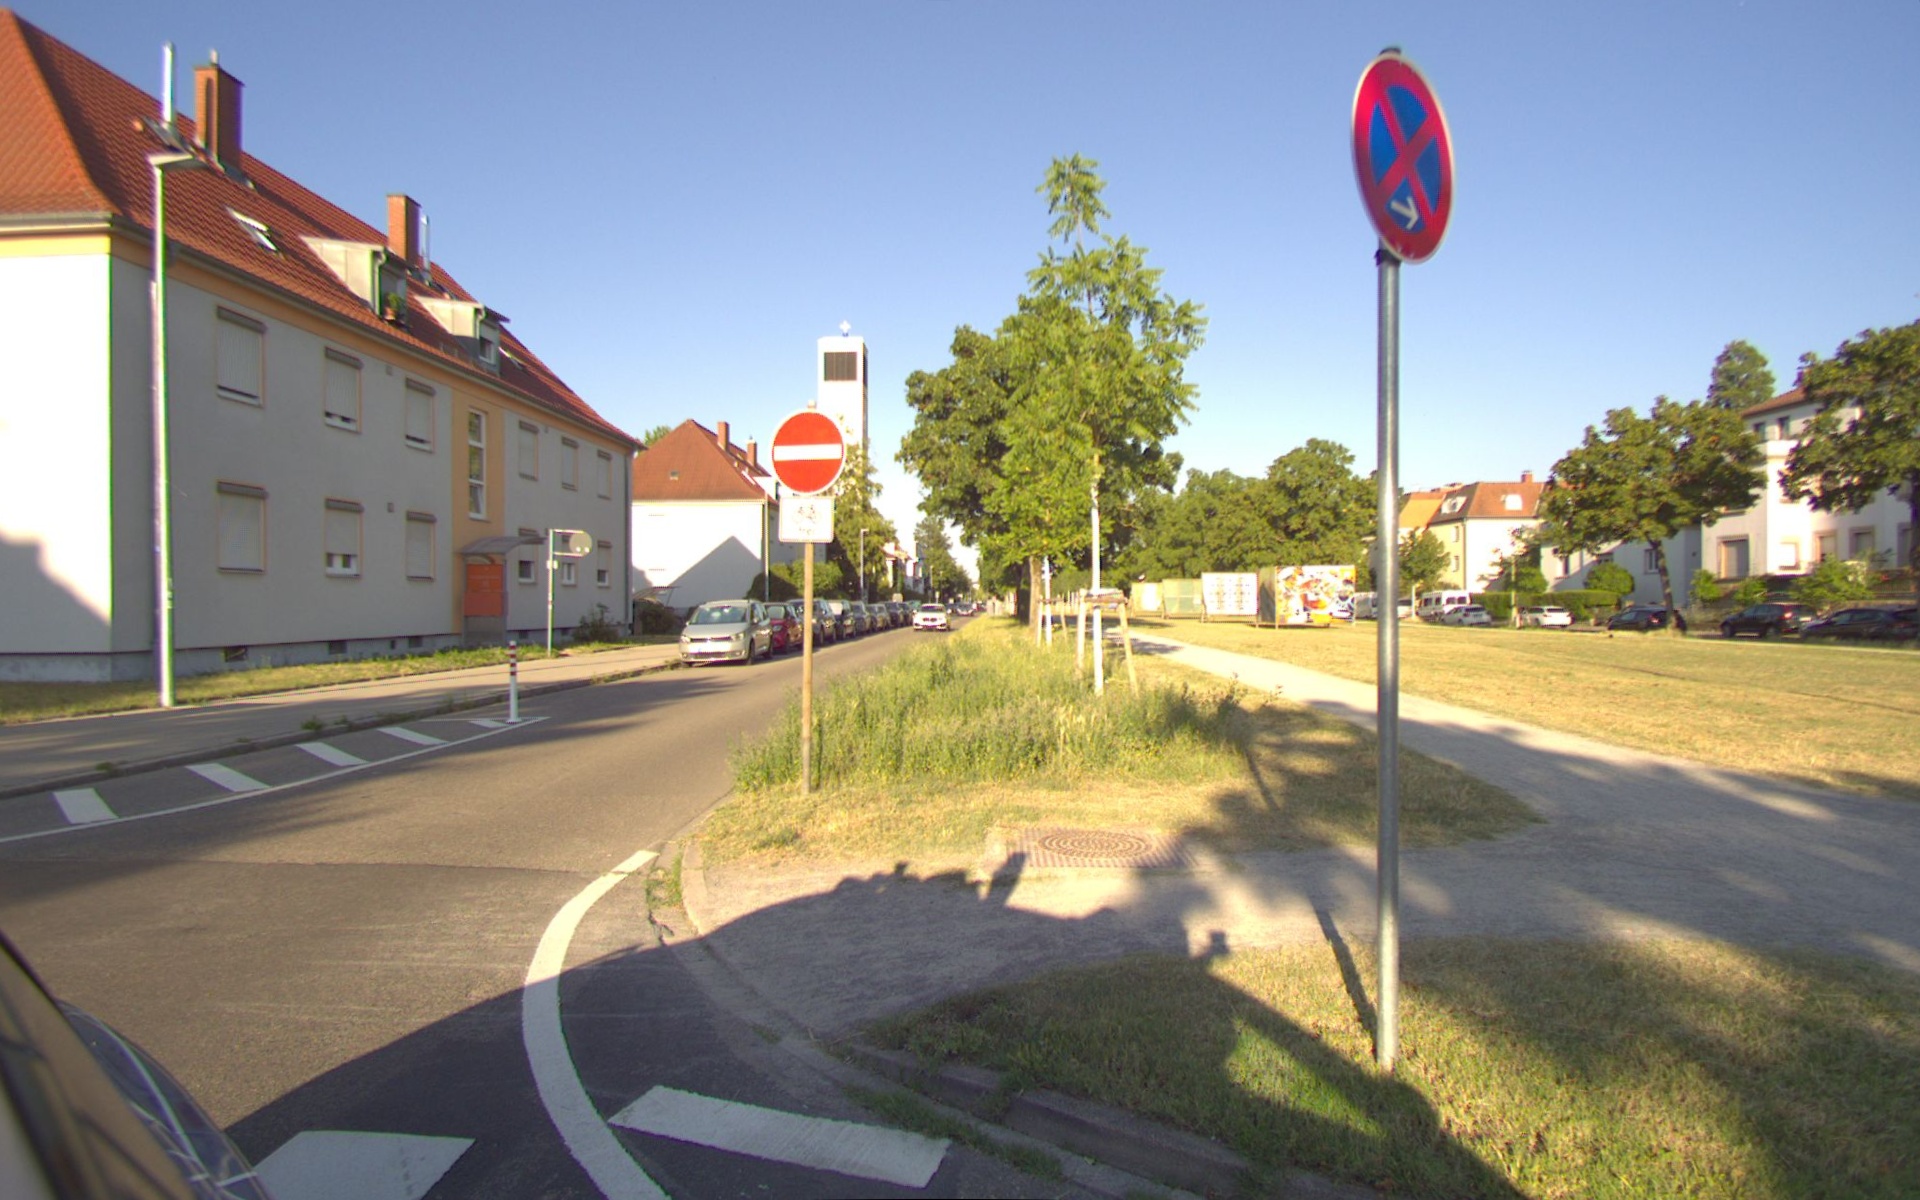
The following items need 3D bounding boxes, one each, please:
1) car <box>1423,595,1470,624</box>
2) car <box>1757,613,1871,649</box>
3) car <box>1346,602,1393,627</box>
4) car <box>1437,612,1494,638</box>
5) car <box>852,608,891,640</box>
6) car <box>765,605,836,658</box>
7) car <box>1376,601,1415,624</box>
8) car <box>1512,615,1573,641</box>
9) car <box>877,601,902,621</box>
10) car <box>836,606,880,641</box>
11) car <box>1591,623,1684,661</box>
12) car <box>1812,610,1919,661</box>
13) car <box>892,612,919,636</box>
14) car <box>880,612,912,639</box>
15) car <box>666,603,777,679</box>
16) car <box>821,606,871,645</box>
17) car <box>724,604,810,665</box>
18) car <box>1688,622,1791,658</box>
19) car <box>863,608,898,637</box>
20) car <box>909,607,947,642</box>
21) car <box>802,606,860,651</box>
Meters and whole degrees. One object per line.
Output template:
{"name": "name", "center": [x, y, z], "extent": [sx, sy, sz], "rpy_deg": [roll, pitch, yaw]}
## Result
{"name": "car", "center": [38.378, 0.770, 79.933], "extent": [1.975, 2.230, 4.124], "rpy_deg": [0, 0, 5]}
{"name": "car", "center": [37.045, 1.312, 44.044], "extent": [1.620, 1.457, 4.006], "rpy_deg": [1, 0, 2]}
{"name": "car", "center": [32.276, 1.113, 79.855], "extent": [2.201, 1.960, 4.502], "rpy_deg": [0, 0, 5]}
{"name": "car", "center": [32.186, 1.561, 64.531], "extent": [1.802, 1.592, 3.833], "rpy_deg": [0, 0, 2]}
{"name": "car", "center": [-5.034, 1.327, 58.205], "extent": [1.825, 1.708, 3.999], "rpy_deg": [-2, 0, 0]}
{"name": "car", "center": [-5.605, 1.069, 36.041], "extent": [1.825, 1.708, 3.999], "rpy_deg": [-2, 0, 0]}
{"name": "car", "center": [38.592, 1.106, 89.807], "extent": [1.975, 1.960, 4.124], "rpy_deg": [0, 0, 5]}
{"name": "car", "center": [37.843, 1.819, 65.866], "extent": [1.802, 1.592, 3.964], "rpy_deg": [0, 0, 2]}
{"name": "car", "center": [-6.176, 0.967, 89.042], "extent": [1.825, 1.708, 3.999], "rpy_deg": [-2, 0, 0]}
{"name": "car", "center": [-5.249, 1.184, 52.475], "extent": [1.825, 1.708, 3.999], "rpy_deg": [-2, 0, 0]}
{"name": "car", "center": [31.154, 1.894, 46.679], "extent": [1.802, 1.592, 3.833], "rpy_deg": [0, 0, 2]}
{"name": "car", "center": [30.858, 1.136, 33.712], "extent": [1.802, 1.592, 3.833], "rpy_deg": [0, 0, 2]}
{"name": "car", "center": [-4.227, 1.836, 79.038], "extent": [1.783, 1.730, 3.343], "rpy_deg": [1, 0, 2]}
{"name": "car", "center": [-4.271, 1.691, 67.840], "extent": [1.783, 1.730, 3.343], "rpy_deg": [1, 0, 2]}
{"name": "car", "center": [-5.949, 0.973, 25.745], "extent": [1.825, 1.708, 3.999], "rpy_deg": [-2, 0, 0]}
{"name": "car", "center": [-5.277, 1.153, 47.323], "extent": [1.825, 1.708, 3.999], "rpy_deg": [-2, 0, 0]}
{"name": "car", "center": [-5.895, 1.025, 31.348], "extent": [1.825, 1.708, 3.999], "rpy_deg": [-2, 0, 0]}
{"name": "car", "center": [37.385, 1.893, 48.678], "extent": [1.802, 1.592, 4.159], "rpy_deg": [0, 0, 2]}
{"name": "car", "center": [-4.910, 1.388, 63.044], "extent": [1.825, 1.708, 3.999], "rpy_deg": [-2, 0, 0]}
{"name": "car", "center": [-1.658, 1.254, 53.616], "extent": [1.845, 1.708, 4.300], "rpy_deg": [-2, 0, 0]}
{"name": "car", "center": [-5.275, 1.141, 41.706], "extent": [1.825, 1.708, 3.999], "rpy_deg": [-2, 0, 0]}
